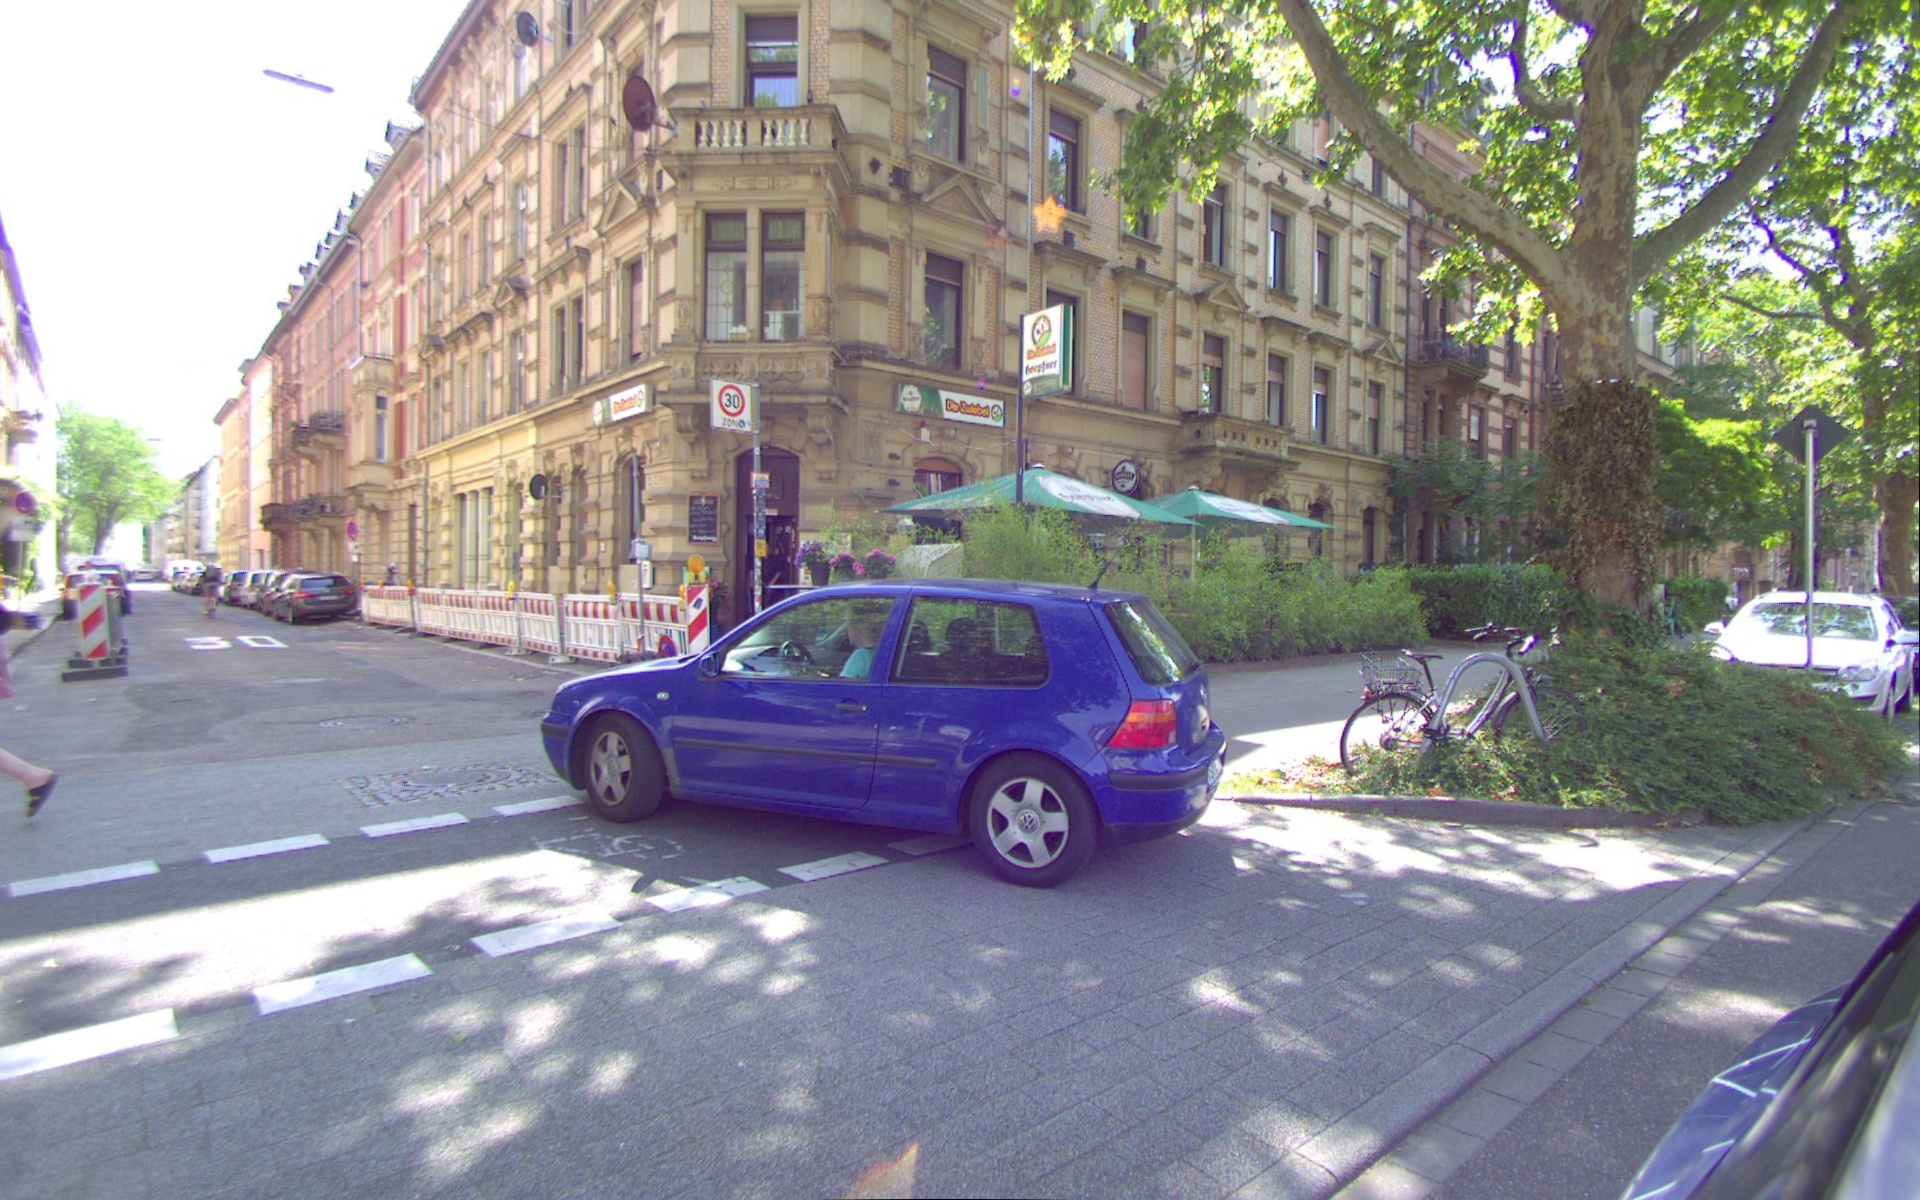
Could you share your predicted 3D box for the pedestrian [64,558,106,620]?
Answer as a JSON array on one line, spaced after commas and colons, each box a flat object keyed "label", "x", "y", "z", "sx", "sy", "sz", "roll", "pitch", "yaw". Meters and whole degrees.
[{"label": "pedestrian", "x": -26.203, "y": -0.335, "z": 30.309, "sx": 0.921, "sy": 1.821, "sz": 1.036, "roll": 0, "pitch": 1, "yaw": -44}]

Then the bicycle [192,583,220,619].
[{"label": "bicycle", "x": -23.956, "y": 0.017, "z": 32.140, "sx": 0.523, "sy": 1.062, "sz": 1.922, "roll": 0, "pitch": 1, "yaw": -42}]

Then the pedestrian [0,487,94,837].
[{"label": "pedestrian", "x": -5.234, "y": 0.313, "z": 5.466, "sx": 0.837, "sy": 1.807, "sz": 0.737, "roll": 0, "pitch": 1, "yaw": -41}]

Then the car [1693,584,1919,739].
[{"label": "car", "x": 10.574, "y": 0.587, "z": 12.410, "sx": 4.418, "sy": 1.527, "sz": 1.835, "roll": -1, "pitch": 2, "yaw": -44}]

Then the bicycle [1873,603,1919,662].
[{"label": "bicycle", "x": 18.786, "y": 0.634, "z": 19.554, "sx": 1.615, "sy": 1.102, "sz": 0.469, "roll": 1, "pitch": 1, "yaw": 17}]

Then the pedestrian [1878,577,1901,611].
[{"label": "pedestrian", "x": 49.108, "y": -0.314, "z": 53.464, "sx": 0.951, "sy": 1.740, "sz": 0.796, "roll": 0, "pitch": 1, "yaw": -41}]

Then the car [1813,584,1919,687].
[{"label": "car", "x": 15.867, "y": 0.512, "z": 16.817, "sx": 4.561, "sy": 1.527, "sz": 1.837, "roll": -1, "pitch": 2, "yaw": -40}]

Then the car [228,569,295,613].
[{"label": "car", "x": -30.057, "y": -0.421, "z": 43.515, "sx": 1.965, "sy": 1.760, "sz": 3.995, "roll": 0, "pitch": 2, "yaw": -41}]

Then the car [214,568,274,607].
[{"label": "car", "x": -34.142, "y": -0.626, "z": 48.217, "sx": 1.965, "sy": 1.760, "sz": 3.995, "roll": 0, "pitch": 2, "yaw": -41}]

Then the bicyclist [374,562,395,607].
[{"label": "bicyclist", "x": -19.374, "y": -0.527, "z": 34.091, "sx": 0.524, "sy": 1.471, "sz": 0.460, "roll": 0, "pitch": 1, "yaw": -44}]

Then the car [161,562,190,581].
[{"label": "car", "x": -73.690, "y": -2.678, "z": 95.011, "sx": 1.965, "sy": 1.760, "sz": 3.995, "roll": 0, "pitch": 1, "yaw": -41}]

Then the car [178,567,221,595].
[{"label": "car", "x": -49.024, "y": -1.242, "z": 65.229, "sx": 1.965, "sy": 1.760, "sz": 3.995, "roll": 0, "pitch": 2, "yaw": -41}]

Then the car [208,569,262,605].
[{"label": "car", "x": -37.722, "y": -0.709, "z": 52.612, "sx": 1.965, "sy": 1.760, "sz": 3.995, "roll": 0, "pitch": 2, "yaw": -41}]

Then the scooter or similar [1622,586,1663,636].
[{"label": "scooter or similar", "x": 17.762, "y": 0.270, "z": 26.332, "sx": 1.125, "sy": 1.263, "sz": 0.583, "roll": 0, "pitch": 1, "yaw": -40}]

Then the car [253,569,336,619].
[{"label": "car", "x": -23.384, "y": -0.249, "z": 35.520, "sx": 1.965, "sy": 1.660, "sz": 3.995, "roll": 0, "pitch": 2, "yaw": -41}]

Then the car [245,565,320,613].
[{"label": "car", "x": -26.382, "y": -0.467, "z": 39.348, "sx": 1.965, "sy": 1.760, "sz": 3.995, "roll": 0, "pitch": 2, "yaw": -41}]

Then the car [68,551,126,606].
[{"label": "car", "x": -39.505, "y": -0.981, "z": 46.401, "sx": 1.879, "sy": 2.403, "sz": 4.244, "roll": 0, "pitch": 1, "yaw": -39}]

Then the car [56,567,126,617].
[{"label": "car", "x": -28.786, "y": -0.294, "z": 33.511, "sx": 1.698, "sy": 1.548, "sz": 3.489, "roll": 0, "pitch": 1, "yaw": -41}]

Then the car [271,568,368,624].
[{"label": "car", "x": -19.470, "y": -0.173, "z": 30.687, "sx": 1.965, "sy": 1.571, "sz": 3.995, "roll": 0, "pitch": 2, "yaw": -41}]

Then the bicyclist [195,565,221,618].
[{"label": "bicyclist", "x": -23.834, "y": -0.270, "z": 32.067, "sx": 0.614, "sy": 1.643, "sz": 0.693, "roll": 0, "pitch": 1, "yaw": -43}]

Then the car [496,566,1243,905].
[{"label": "car", "x": -0.513, "y": 0.542, "z": 6.023, "sx": 4.046, "sy": 1.427, "sz": 1.874, "roll": 1, "pitch": 1, "yaw": 23}]

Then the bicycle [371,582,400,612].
[{"label": "bicycle", "x": -19.337, "y": -0.109, "z": 34.054, "sx": 0.530, "sy": 0.991, "sz": 1.306, "roll": 0, "pitch": 1, "yaw": -44}]

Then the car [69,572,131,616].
[{"label": "car", "x": -32.271, "y": -0.248, "z": 37.949, "sx": 1.698, "sy": 1.548, "sz": 3.489, "roll": 0, "pitch": 1, "yaw": -41}]

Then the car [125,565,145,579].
[{"label": "car", "x": -104.857, "y": -3.608, "z": 128.628, "sx": 1.965, "sy": 1.760, "sz": 3.995, "roll": 0, "pitch": 2, "yaw": -41}]

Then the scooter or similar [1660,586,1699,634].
[{"label": "scooter or similar", "x": 19.886, "y": 0.266, "z": 27.963, "sx": 1.124, "sy": 1.298, "sz": 0.583, "roll": 0, "pitch": 1, "yaw": -39}]

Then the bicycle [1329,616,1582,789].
[{"label": "bicycle", "x": 3.401, "y": 0.685, "z": 6.971, "sx": 1.583, "sy": 1.119, "sz": 0.423, "roll": 0, "pitch": 1, "yaw": -8}]
